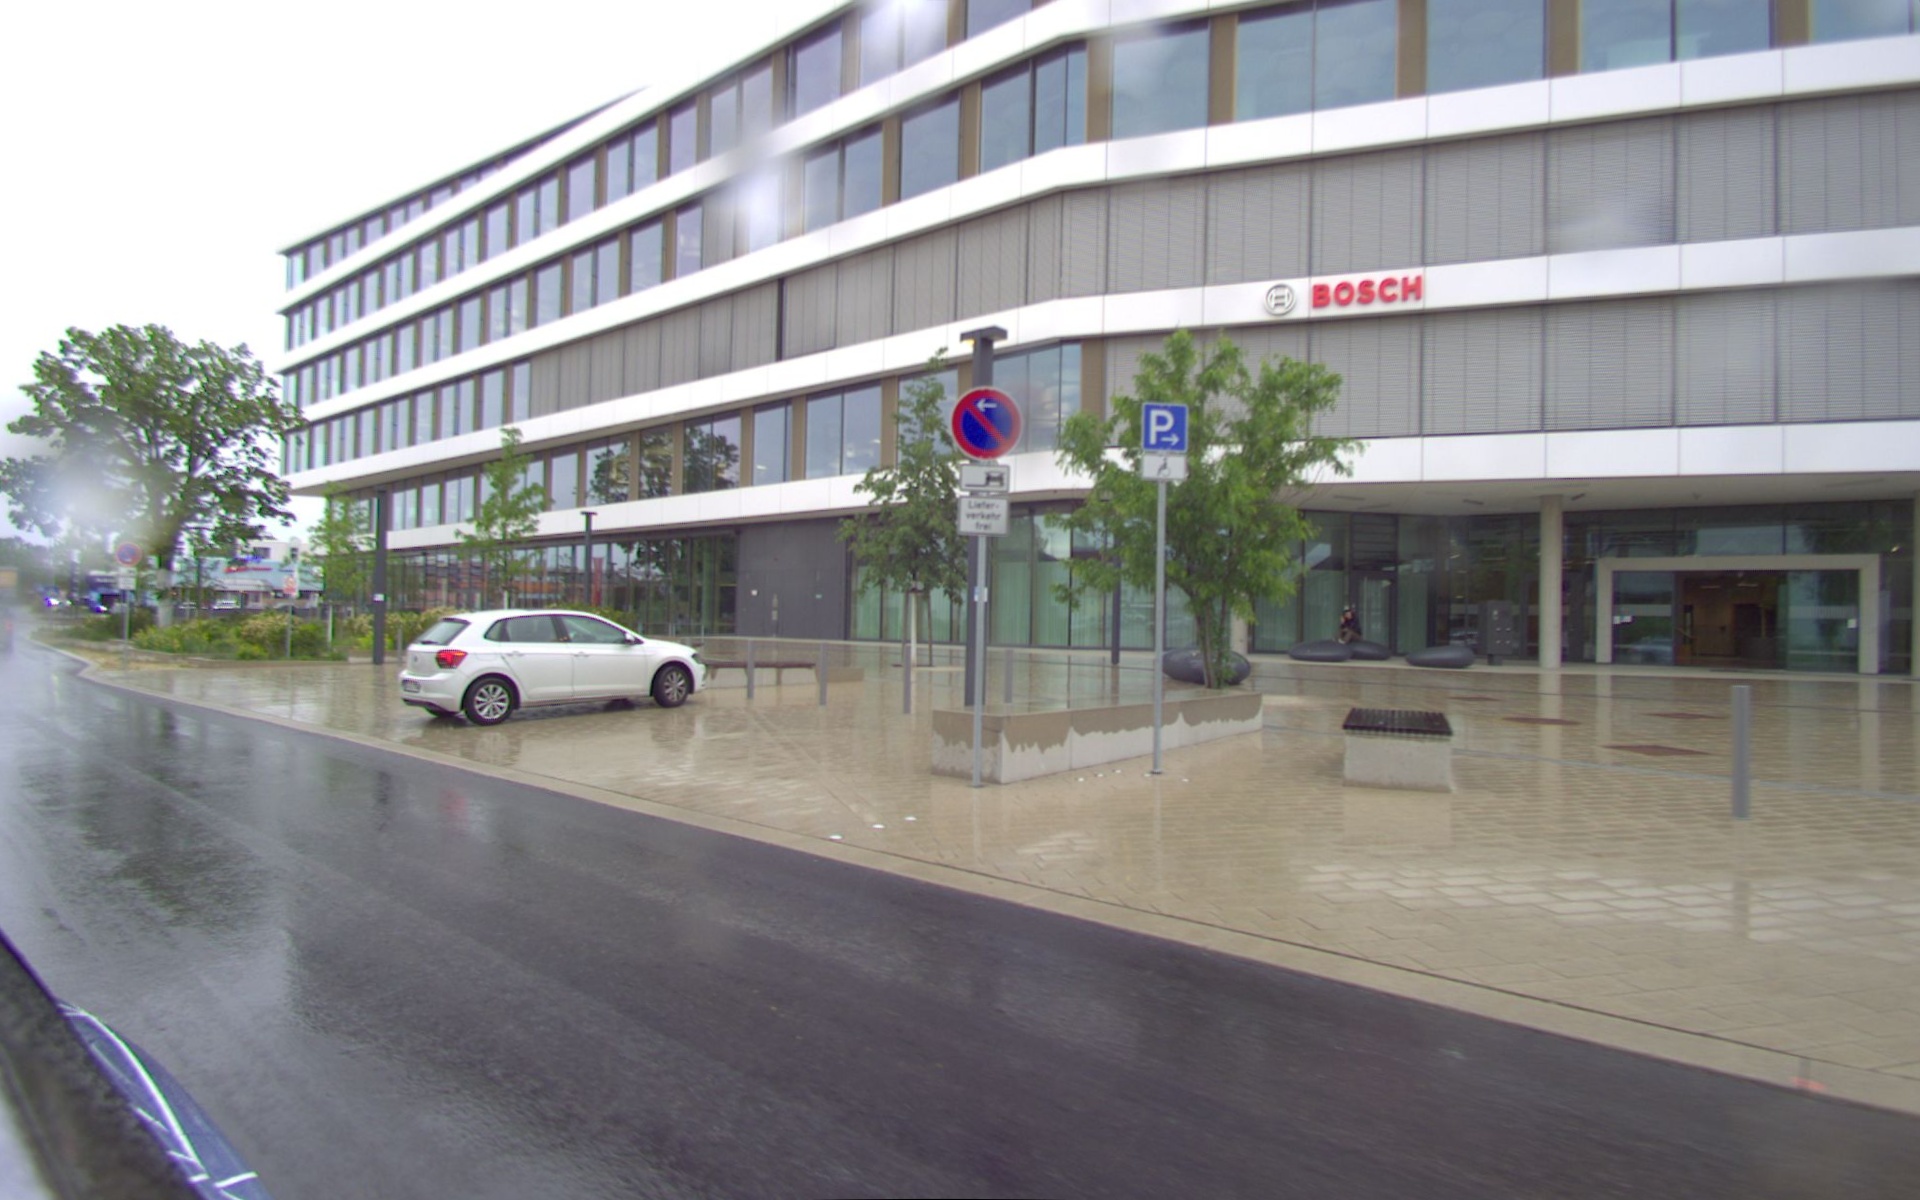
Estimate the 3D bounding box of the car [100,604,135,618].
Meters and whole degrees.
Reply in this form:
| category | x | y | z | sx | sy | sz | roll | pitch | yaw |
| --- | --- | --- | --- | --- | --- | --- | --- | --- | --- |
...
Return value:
| category | x | y | z | sx | sy | sz | roll | pitch | yaw |
| --- | --- | --- | --- | --- | --- | --- | --- | --- | --- |
| car | -95.008 | 1.261 | 114.170 | 1.888 | 1.541 | 4.013 | -1 | -1 | -22 |

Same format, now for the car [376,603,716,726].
| category | x | y | z | sx | sy | sz | roll | pitch | yaw |
| --- | --- | --- | --- | --- | --- | --- | --- | --- | --- |
| car | -5.538 | 0.803 | 13.876 | 1.898 | 1.434 | 3.886 | -1 | -2 | 42 |

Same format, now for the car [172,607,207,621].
| category | x | y | z | sx | sy | sz | roll | pitch | yaw |
| --- | --- | --- | --- | --- | --- | --- | --- | --- | --- |
| car | -74.446 | 1.360 | 97.822 | 1.855 | 1.305 | 4.013 | -2 | 0 | -25 |

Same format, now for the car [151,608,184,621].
| category | x | y | z | sx | sy | sz | roll | pitch | yaw |
| --- | --- | --- | --- | --- | --- | --- | --- | --- | --- |
| car | -84.099 | 1.496 | 107.442 | 1.855 | 1.305 | 4.013 | -2 | 0 | -25 |

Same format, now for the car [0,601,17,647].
| category | x | y | z | sx | sy | sz | roll | pitch | yaw |
| --- | --- | --- | --- | --- | --- | --- | --- | --- | --- |
| car | -40.404 | 0.989 | 41.729 | 4.981 | 1.832 | 1.980 | -1 | -2 | 44 |

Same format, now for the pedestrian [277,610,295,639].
| category | x | y | z | sx | sy | sz | roll | pitch | yaw |
| --- | --- | --- | --- | --- | --- | --- | --- | --- | --- |
| pedestrian | -42.709 | 1.549 | 64.135 | 0.957 | 1.716 | 0.716 | 1 | 3 | 45 |

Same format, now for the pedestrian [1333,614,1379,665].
| category | x | y | z | sx | sy | sz | roll | pitch | yaw |
| --- | --- | --- | --- | --- | --- | --- | --- | --- | --- |
| pedestrian | 10.918 | 1.071 | 27.942 | 1.051 | 1.324 | 0.895 | 0 | 2 | 14 |

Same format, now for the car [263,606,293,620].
| category | x | y | z | sx | sy | sz | roll | pitch | yaw |
| --- | --- | --- | --- | --- | --- | --- | --- | --- | --- |
| car | -68.140 | 1.242 | 101.180 | 1.855 | 1.305 | 4.013 | -2 | 0 | -25 |

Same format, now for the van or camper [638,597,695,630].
| category | x | y | z | sx | sy | sz | roll | pitch | yaw |
| --- | --- | --- | --- | --- | --- | --- | --- | --- | --- |
| van or camper | -29.056 | 1.305 | 100.170 | 5.013 | 3.111 | 2.006 | -1 | -1 | -28 |
